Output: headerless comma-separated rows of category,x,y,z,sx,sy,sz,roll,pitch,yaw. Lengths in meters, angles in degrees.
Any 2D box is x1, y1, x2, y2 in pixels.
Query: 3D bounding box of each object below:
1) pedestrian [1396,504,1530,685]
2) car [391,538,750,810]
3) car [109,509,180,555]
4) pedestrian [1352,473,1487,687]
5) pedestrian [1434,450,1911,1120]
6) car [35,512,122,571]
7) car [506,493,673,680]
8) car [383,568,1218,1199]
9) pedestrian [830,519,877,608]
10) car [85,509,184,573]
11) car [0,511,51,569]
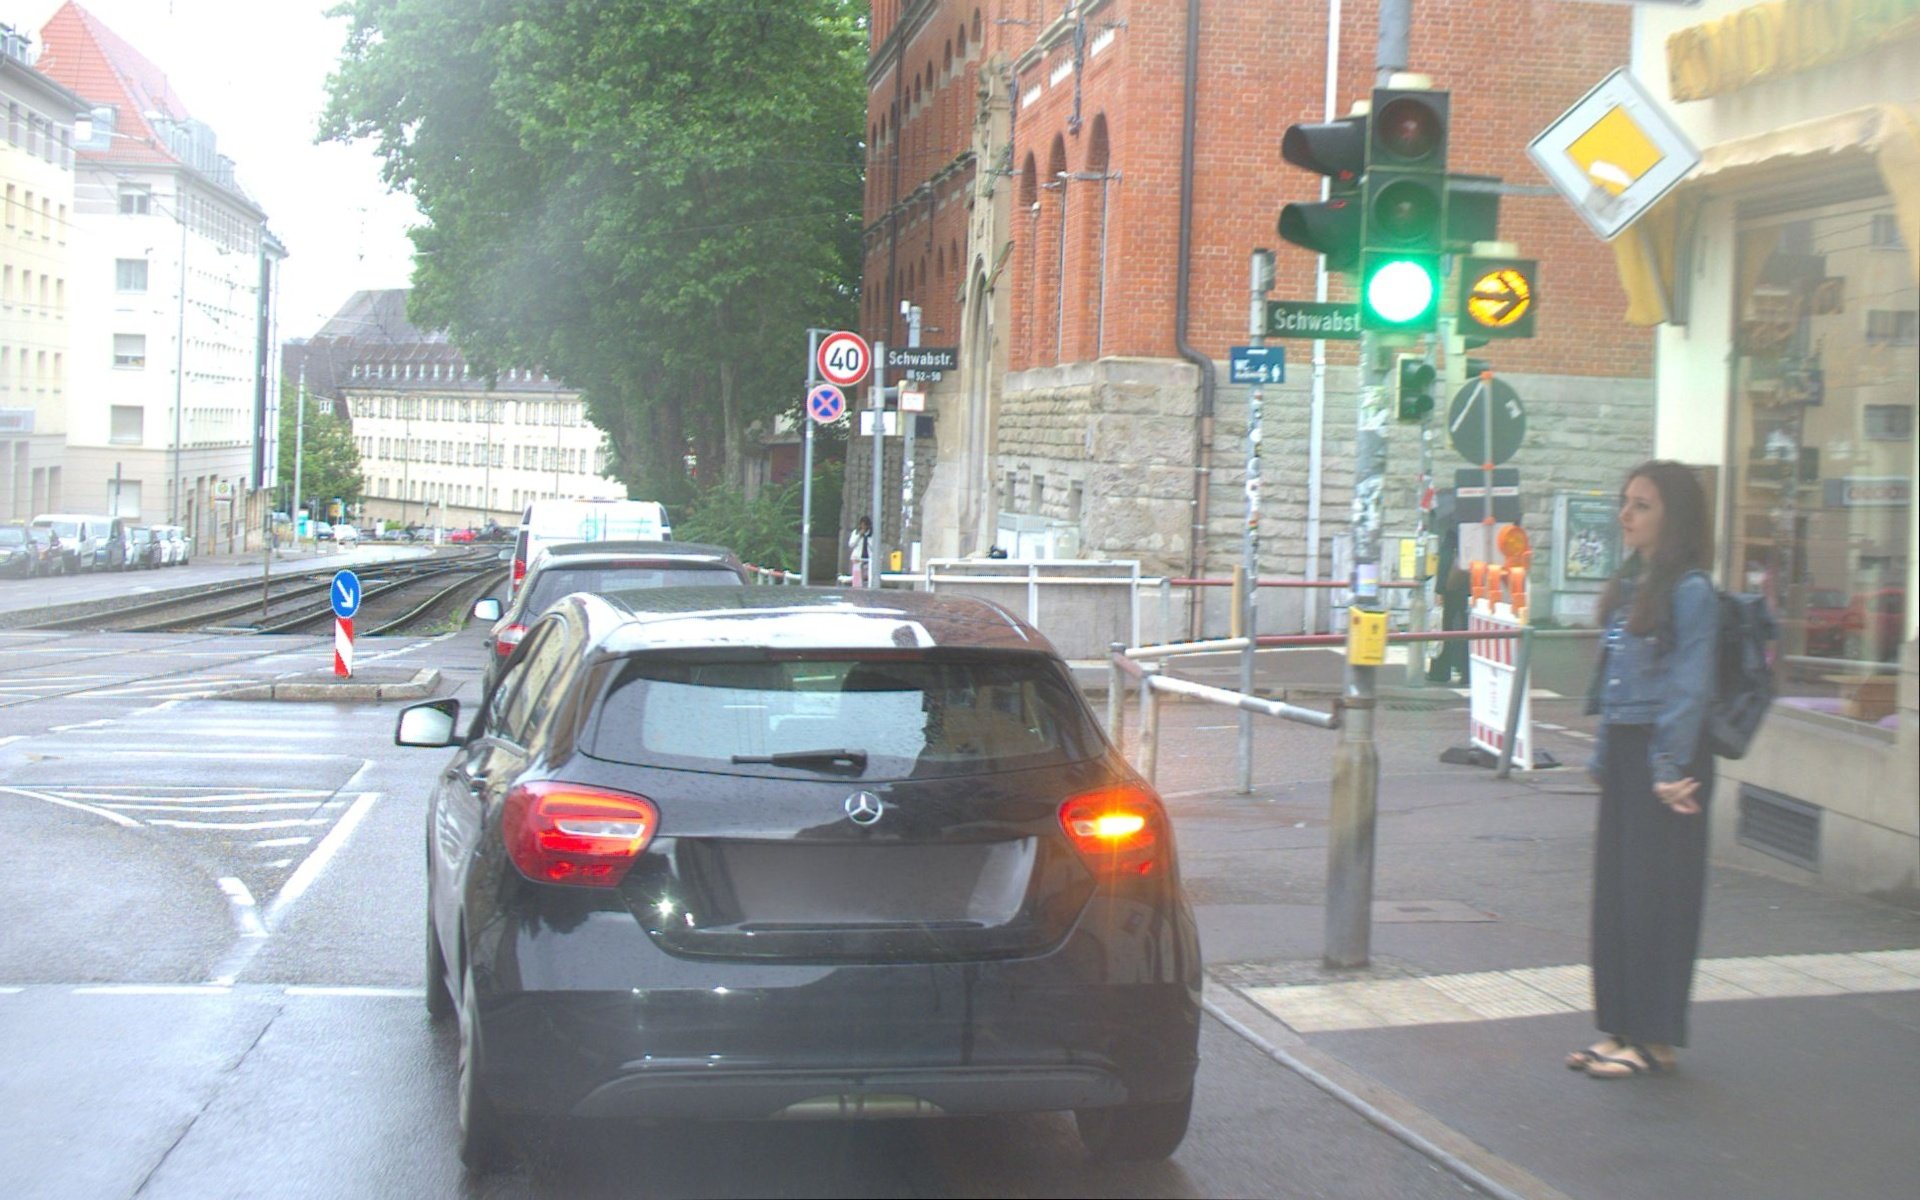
pedestrian,4.575,-0.062,31.355,0.958,1.620,1.074,0,1,-6
car,-2.511,0.382,21.265,1.933,1.448,4.319,2,1,-9
car,-28.456,-2.393,120.040,1.813,1.494,4.583,3,1,-6
pedestrian,4.105,-0.185,30.816,0.958,1.881,1.074,0,1,-6
pedestrian,1.921,0.472,9.403,1.016,1.714,0.930,-2,1,-5
car,-26.812,-1.774,104.672,1.867,1.711,4.461,1,1,-6
car,-4.307,-0.174,39.569,1.740,2.007,3.905,1,1,-8
car,-0.588,0.647,9.599,1.794,1.370,4.001,3,0,-7
pedestrian,-2.044,-0.708,65.800,0.823,1.673,0.860,1,1,-4
car,-26.516,-1.915,110.598,1.993,1.898,5.460,3,1,-3
car,-25.735,-1.630,93.137,1.851,1.503,4.993,1,1,-12
